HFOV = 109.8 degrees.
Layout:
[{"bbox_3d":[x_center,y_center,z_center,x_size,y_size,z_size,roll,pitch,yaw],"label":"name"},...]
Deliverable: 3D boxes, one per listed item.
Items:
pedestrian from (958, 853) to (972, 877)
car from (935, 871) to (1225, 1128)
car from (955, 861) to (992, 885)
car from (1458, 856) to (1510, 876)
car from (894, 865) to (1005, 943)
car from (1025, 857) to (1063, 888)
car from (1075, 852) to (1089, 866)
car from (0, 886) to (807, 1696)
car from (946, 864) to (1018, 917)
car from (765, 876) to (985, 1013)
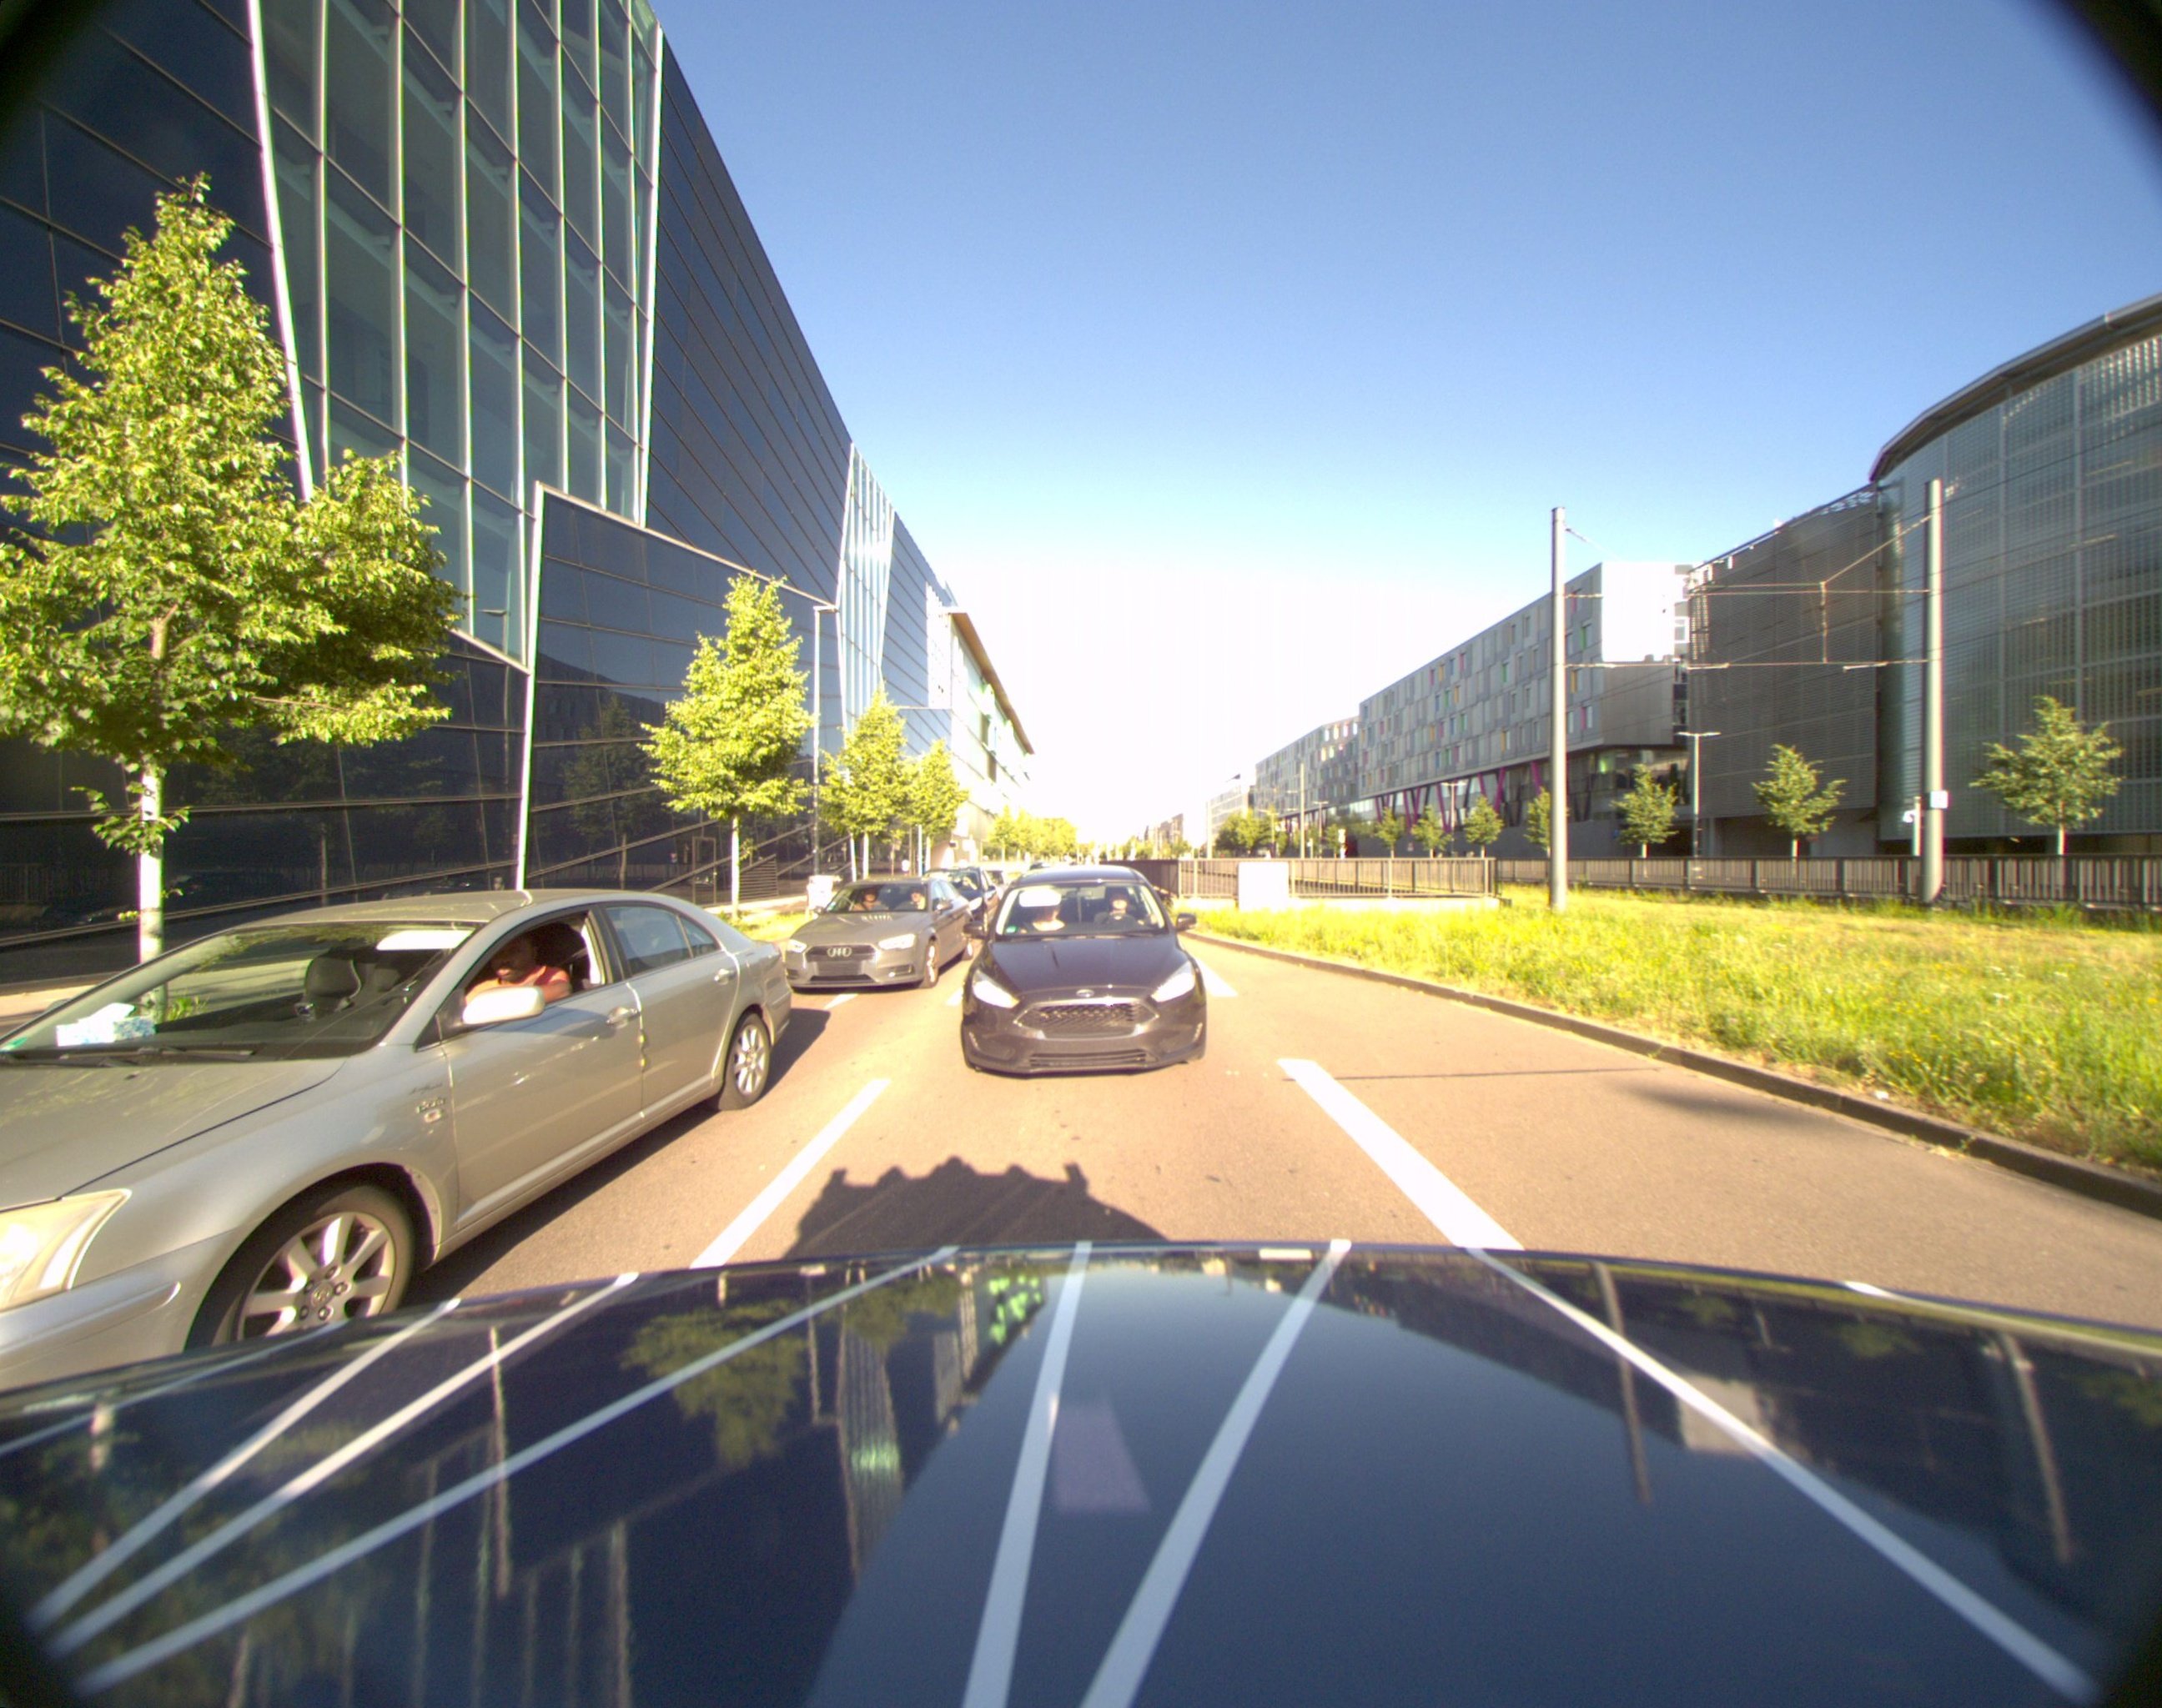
[{"bbox_3d":[-8.940,0.862,58.665,0.828,1.814,0.905,3,0,0],"label":"pedestrian"},{"bbox_3d":[0.012,0.971,7.092,1.787,1.499,4.590,-2,0,0],"label":"car"},{"bbox_3d":[-7.103,1.221,50.743,1.740,1.489,4.715,1,0,0],"label":"car"},{"bbox_3d":[32.297,0.951,61.068,1.998,1.492,4.244,-1,0,1],"label":"car"},{"bbox_3d":[-2.829,1.040,17.202,1.753,1.469,3.972,-2,0,0],"label":"car"},{"bbox_3d":[-2.017,0.988,42.667,1.907,1.612,4.000,0,0,1],"label":"car"},{"bbox_3d":[0.112,0.810,115.853,1.998,2.002,4.000,-2,1,1],"label":"car"},{"bbox_3d":[-3.062,1.005,3.555,1.750,1.473,4.628,-1,0,2],"label":"car"},{"bbox_3d":[-3.036,1.093,23.959,1.753,1.469,3.418,-2,0,0],"label":"car"},{"bbox_3d":[-2.625,1.097,10.779,1.750,1.384,4.264,-2,0,3],"label":"car"}]
